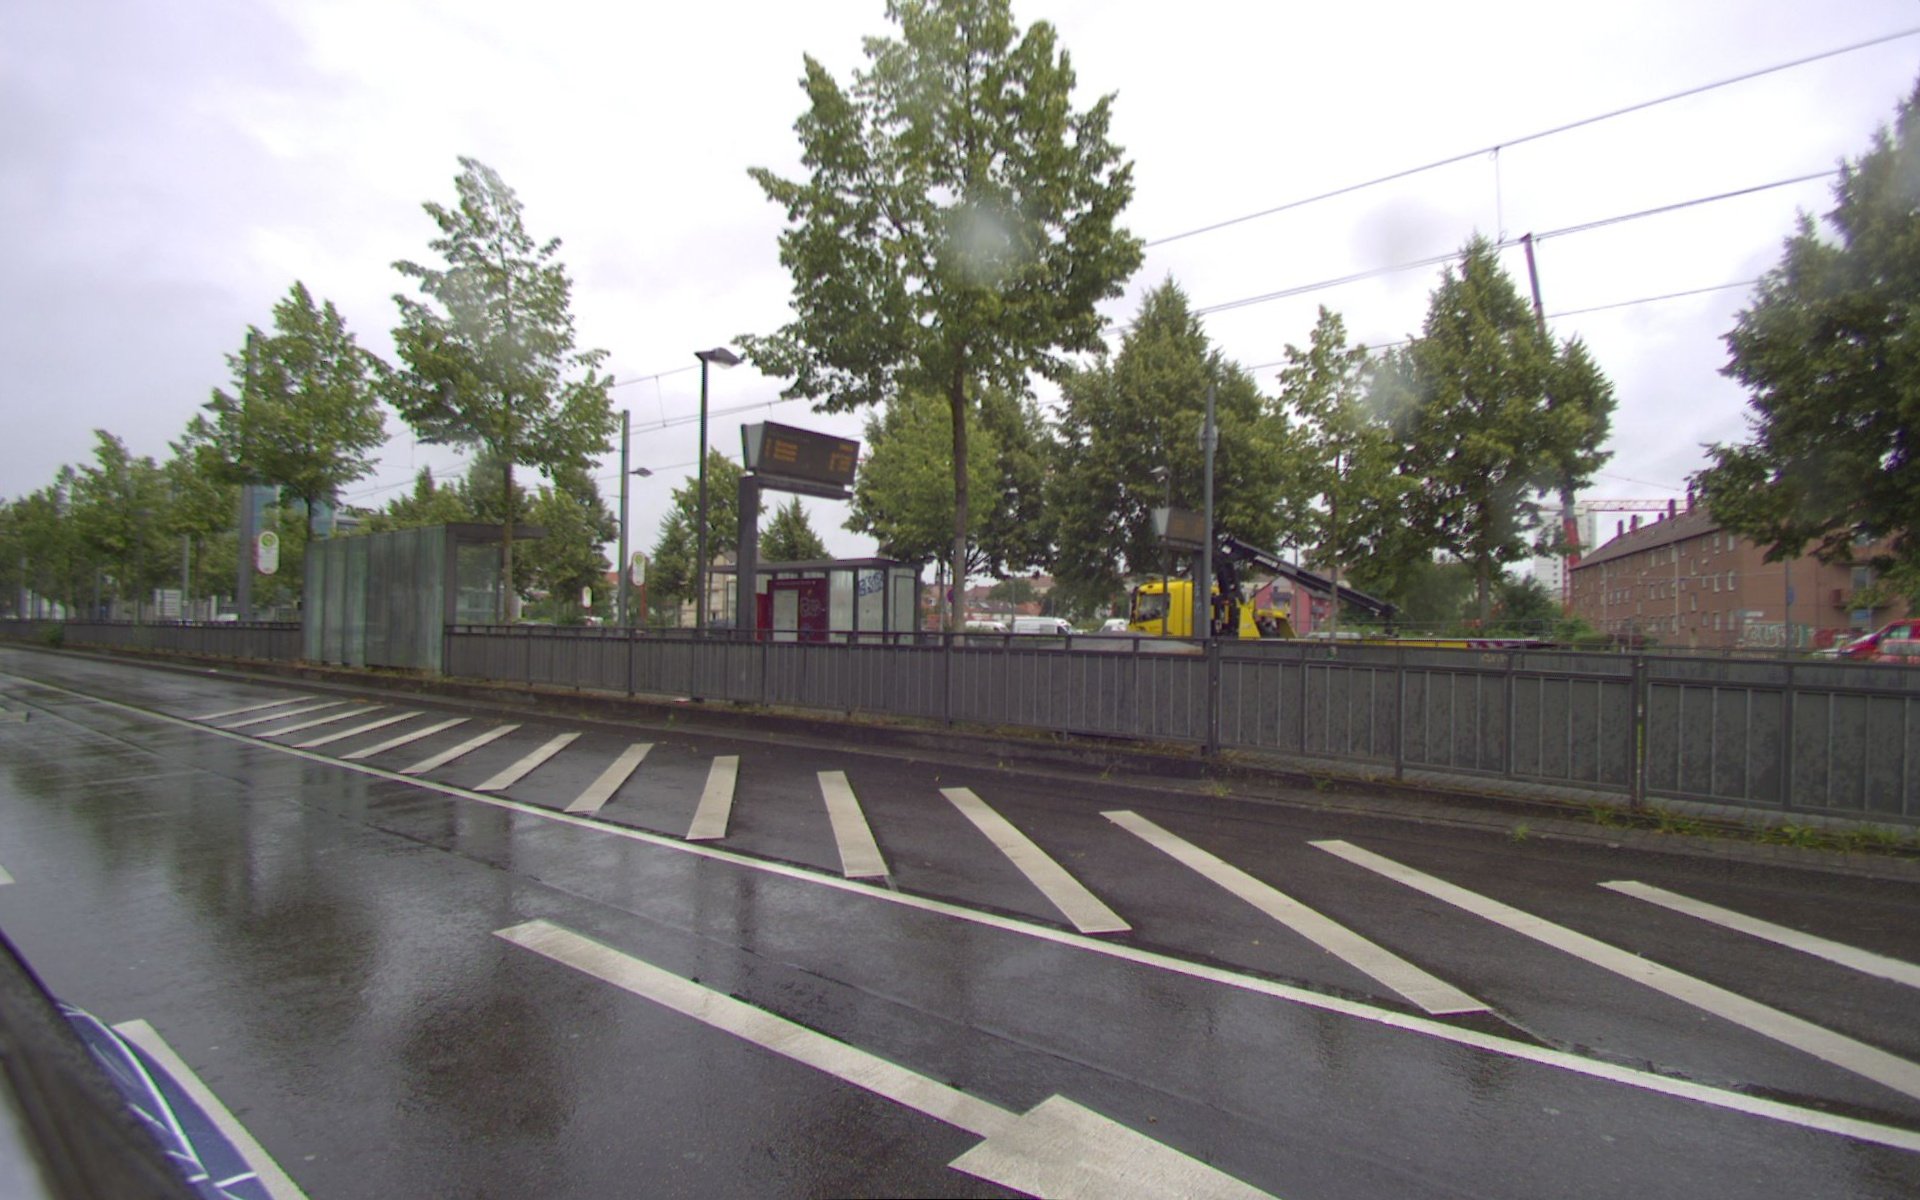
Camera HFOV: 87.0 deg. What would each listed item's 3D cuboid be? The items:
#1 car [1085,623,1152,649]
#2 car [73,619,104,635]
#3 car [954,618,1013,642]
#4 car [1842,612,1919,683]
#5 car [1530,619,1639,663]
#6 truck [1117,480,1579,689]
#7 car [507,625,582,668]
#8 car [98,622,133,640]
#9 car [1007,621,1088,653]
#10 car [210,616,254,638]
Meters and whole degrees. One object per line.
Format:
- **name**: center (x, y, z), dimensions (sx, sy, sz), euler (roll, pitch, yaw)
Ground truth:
- **car**: center (13.645, 3.100, 87.381), dimensions (5.412, 2.067, 1.975), euler (0, 0, 37)
- **car**: center (-99.503, 3.085, 115.485), dimensions (3.995, 1.759, 1.974), euler (0, 0, 38)
- **car**: center (2.477, 3.138, 106.970), dimensions (6.124, 2.323, 1.978), euler (0, 0, 32)
- **car**: center (35.193, 1.658, 35.247), dimensions (1.597, 2.489, 6.500), euler (2, -2, -39)
- **car**: center (37.716, 2.453, 61.202), dimensions (5.482, 2.471, 1.976), euler (0, 0, 36)
- **truck**: center (8.168, -0.272, 22.377), dimensions (9.172, 3.806, 2.661), euler (0, 0, 39)
- **car**: center (-20.338, 2.236, 49.491), dimensions (3.997, 2.029, 1.739), euler (-1, -3, 40)
- **car**: center (-85.891, 3.123, 102.876), dimensions (3.995, 1.759, 1.974), euler (0, 0, 38)
- **car**: center (7.236, 3.030, 84.328), dimensions (6.736, 2.480, 1.975), euler (0, 0, 37)
- **car**: center (-61.735, 2.249, 85.780), dimensions (3.995, 1.759, 1.974), euler (0, 0, 38)
